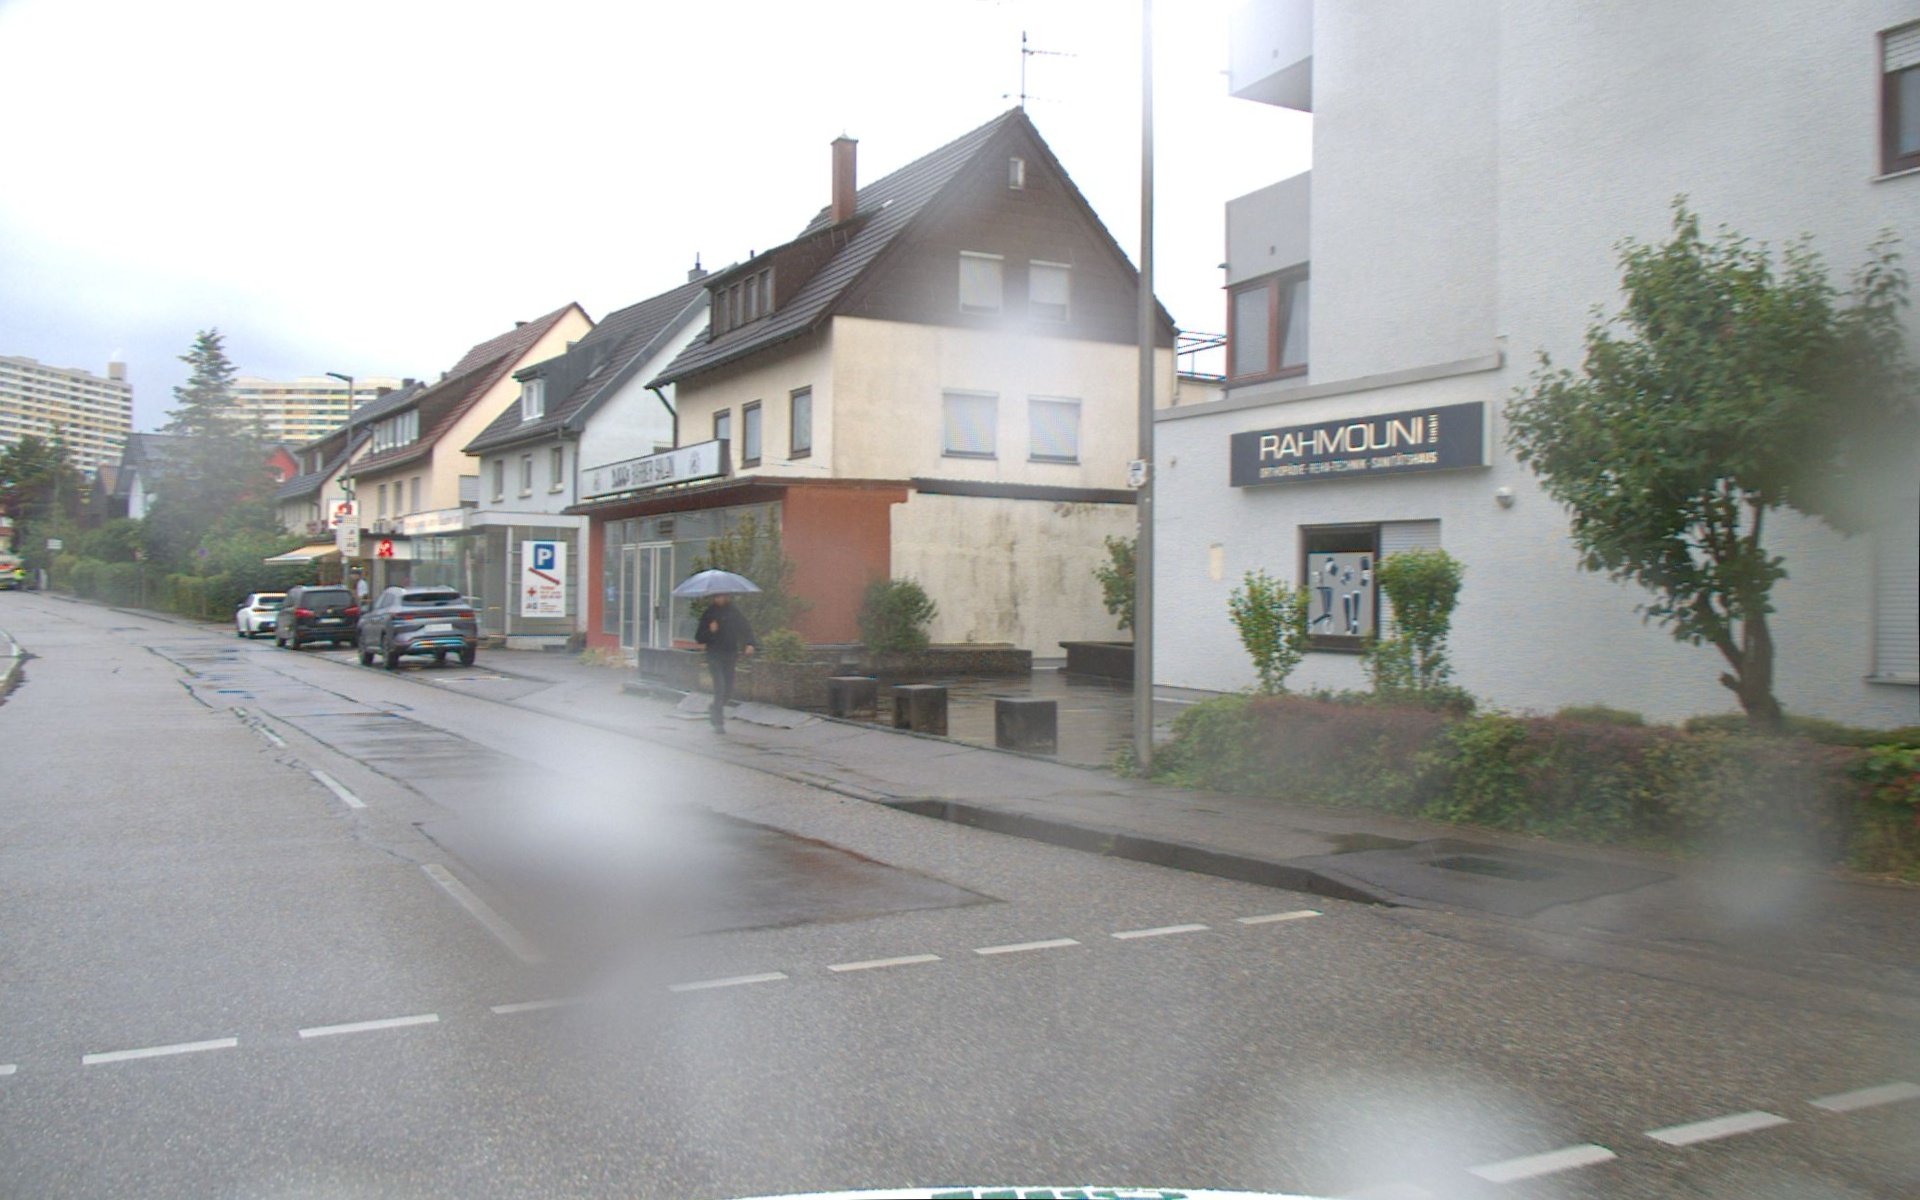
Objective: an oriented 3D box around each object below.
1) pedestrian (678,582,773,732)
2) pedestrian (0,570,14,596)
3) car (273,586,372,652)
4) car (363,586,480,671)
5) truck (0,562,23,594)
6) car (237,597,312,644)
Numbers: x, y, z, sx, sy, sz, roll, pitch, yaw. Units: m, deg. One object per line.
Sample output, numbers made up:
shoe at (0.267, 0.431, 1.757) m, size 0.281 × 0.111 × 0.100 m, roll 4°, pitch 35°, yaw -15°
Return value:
pedestrian at (-2.606, 0.629, 18.335) m, size 0.743 × 1.596 × 0.985 m, roll 3°, pitch -2°, yaw -26°
pedestrian at (-67.755, -1.180, 117.451) m, size 0.784 × 1.828 × 0.822 m, roll 1°, pitch 1°, yaw 36°
car at (-18.410, 0.540, 47.654) m, size 2.013 × 1.724 × 4.915 m, roll -2°, pitch 1°, yaw -29°
car at (-11.992, 0.597, 36.634) m, size 1.852 × 1.671 × 4.753 m, roll -2°, pitch 1°, yaw -25°
truck at (-69.985, -1.632, 121.377) m, size 1.974 × 2.343 × 3.957 m, roll 0°, pitch 1°, yaw -32°
car at (-23.319, 0.668, 56.165) m, size 1.797 × 1.473 × 4.160 m, roll -2°, pitch 1°, yaw -30°
